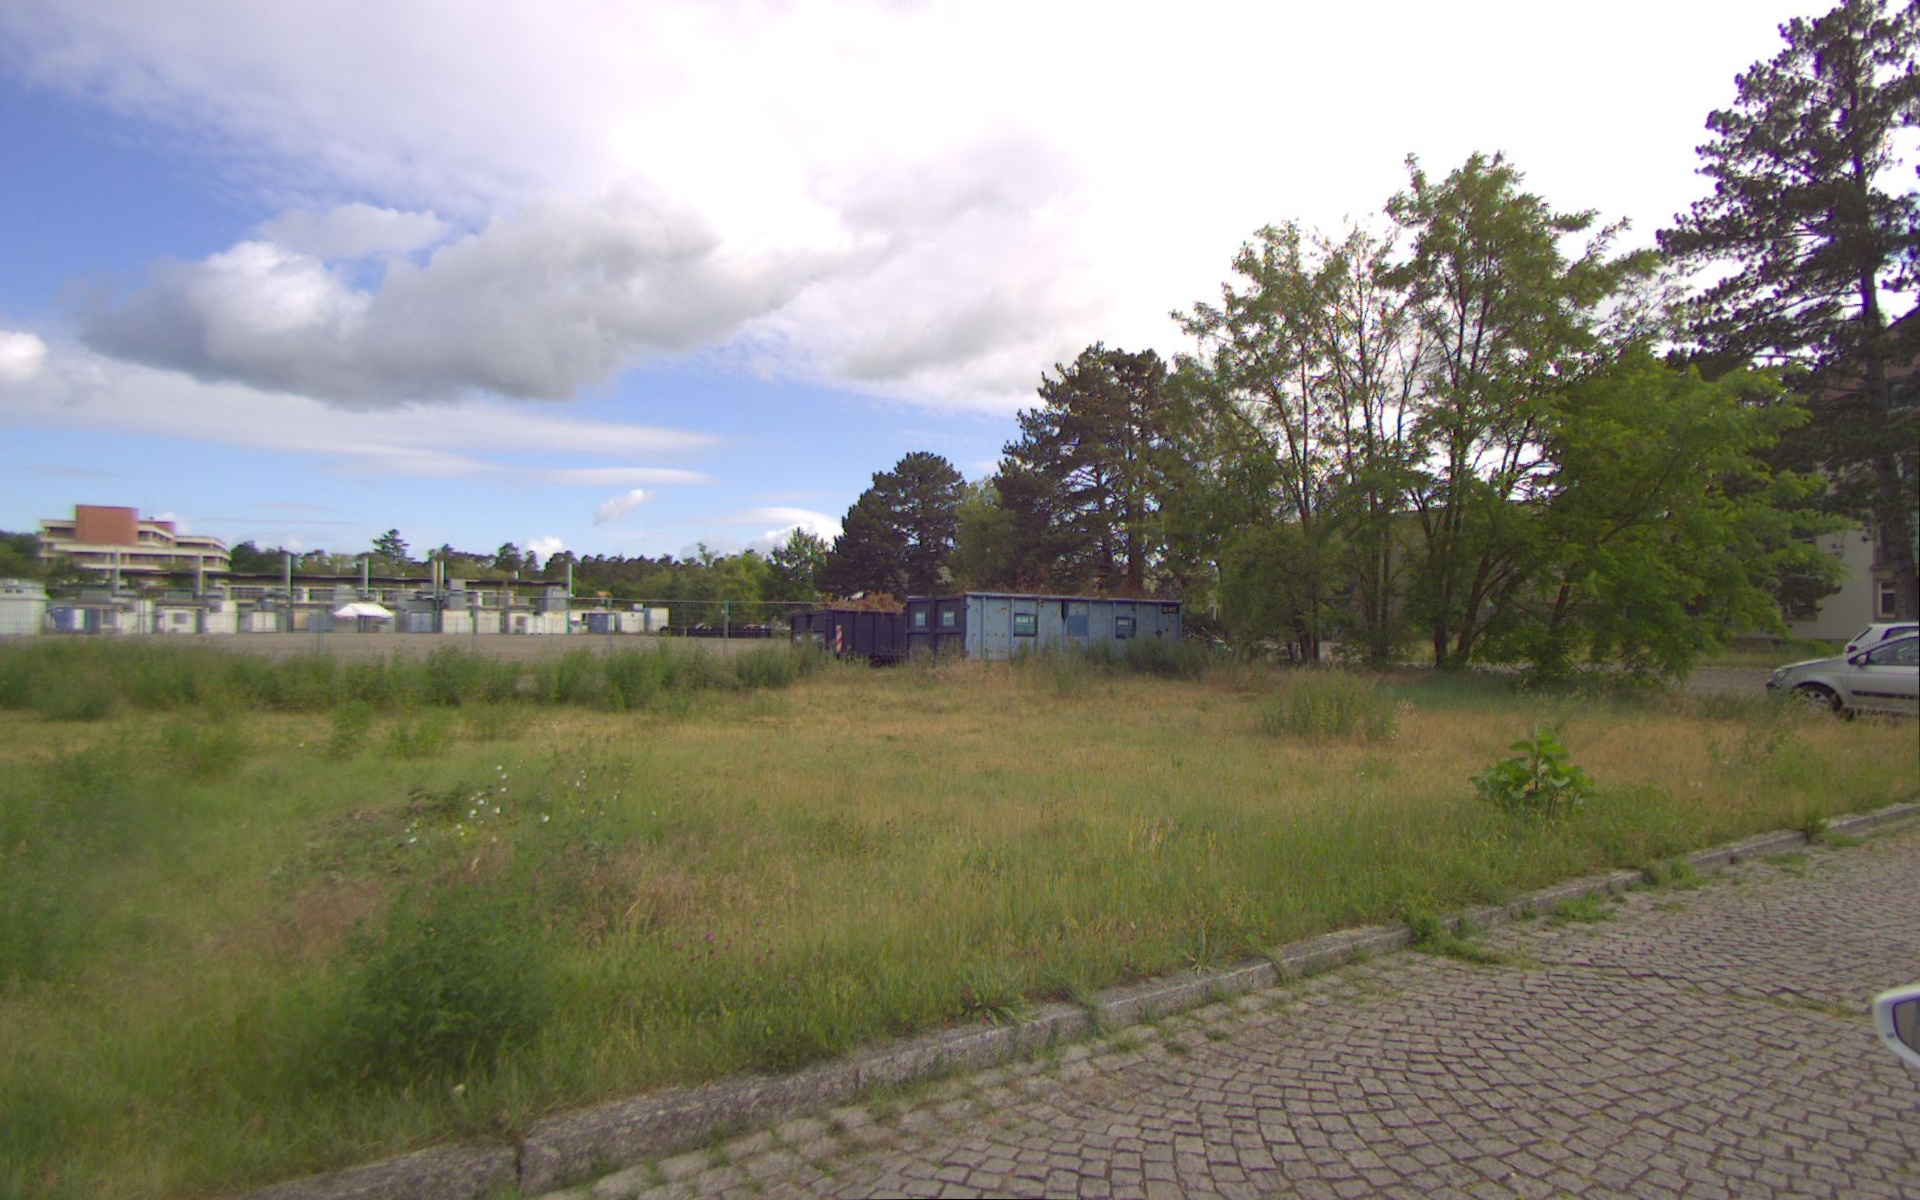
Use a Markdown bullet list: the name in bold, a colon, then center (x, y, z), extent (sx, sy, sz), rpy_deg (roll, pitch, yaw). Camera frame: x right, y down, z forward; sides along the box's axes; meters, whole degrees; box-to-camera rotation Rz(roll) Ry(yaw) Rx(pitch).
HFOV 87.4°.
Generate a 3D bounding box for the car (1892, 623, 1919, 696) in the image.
- **car**: center (20.833, 1.273, 19.331), extent (1.632, 1.440, 3.926), rpy_deg (1, 1, -31)

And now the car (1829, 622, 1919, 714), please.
- **car**: center (16.616, 1.167, 16.128), extent (1.566, 1.448, 3.722), rpy_deg (1, 1, -34)

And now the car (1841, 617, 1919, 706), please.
- **car**: center (18.664, 1.189, 18.074), extent (1.633, 1.584, 3.923), rpy_deg (1, 1, -34)

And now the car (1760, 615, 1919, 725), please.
- **car**: center (14.392, 1.058, 14.846), extent (1.566, 1.499, 3.679), rpy_deg (1, 1, -34)
